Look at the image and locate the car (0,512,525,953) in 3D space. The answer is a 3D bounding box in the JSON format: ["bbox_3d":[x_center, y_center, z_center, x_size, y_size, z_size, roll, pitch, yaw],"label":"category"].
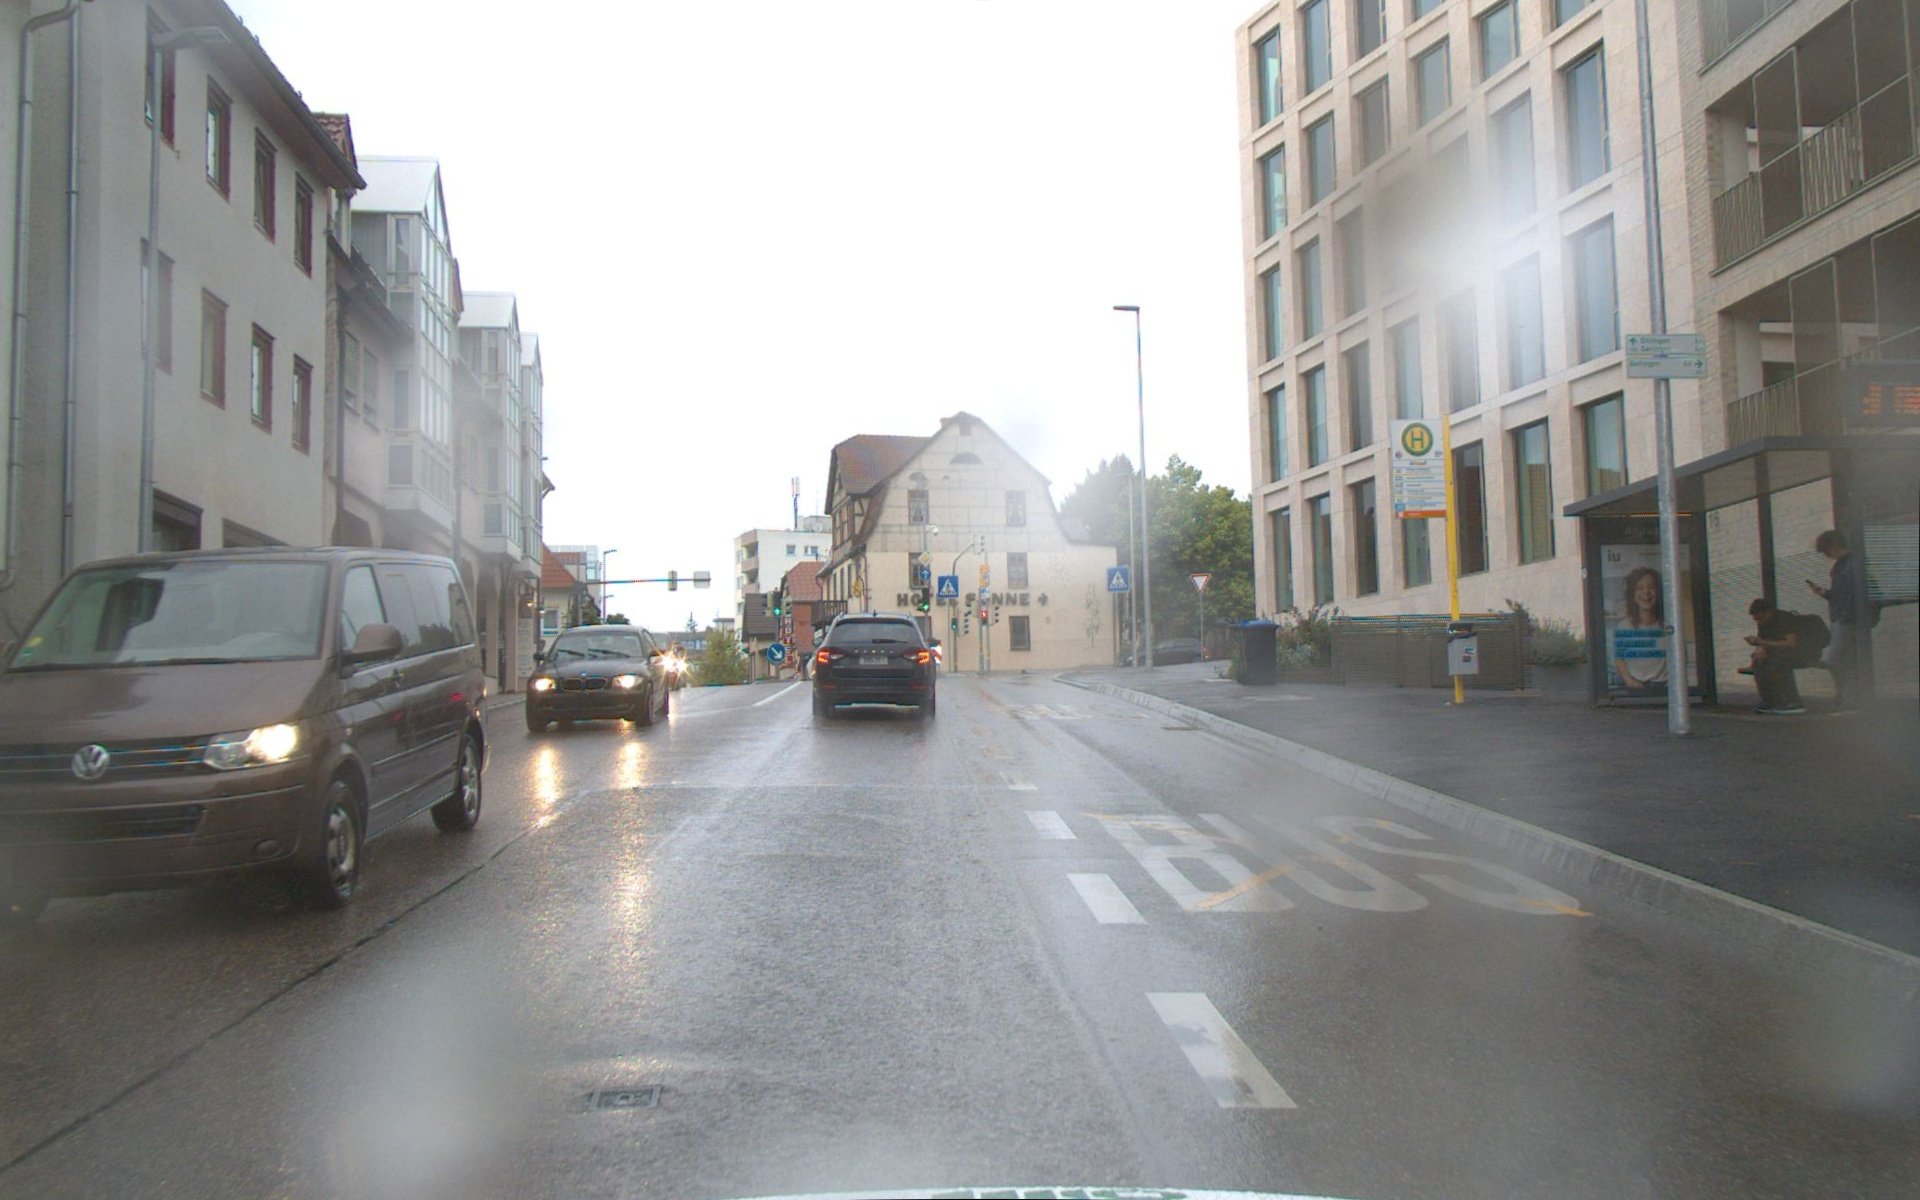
[{"bbox_3d":[-4.104,0.628,10.016,1.894,1.941,5.038,-2,0,-4],"label":"car"}]

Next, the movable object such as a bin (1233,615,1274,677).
[{"bbox_3d":[5.201,0.810,29.317,0.583,1.081,0.579,-1,-1,-1],"label":"movable object such as a bin"}]

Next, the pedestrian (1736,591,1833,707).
[{"bbox_3d":[8.748,0.515,17.569,0.658,1.182,0.635,-2,-1,-1],"label":"pedestrian"}]

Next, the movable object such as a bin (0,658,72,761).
[{"bbox_3d":[-9.534,1.115,17.020,0.498,1.024,0.584,0,-1,-5],"label":"movable object such as a bin"}]

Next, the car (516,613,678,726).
[{"bbox_3d":[-5.148,0.940,23.898,1.654,1.469,3.907,-1,-1,-3],"label":"car"}]

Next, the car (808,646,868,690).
[{"bbox_3d":[-4.554,2.508,61.284,1.852,1.493,3.991,-2,-1,-9],"label":"car"}]

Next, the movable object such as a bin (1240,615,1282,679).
[{"bbox_3d":[5.199,0.803,28.566,0.583,1.081,0.579,-1,-1,-1],"label":"movable object such as a bin"}]

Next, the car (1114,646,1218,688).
[{"bbox_3d":[9.353,3.050,75.108,4.234,1.531,1.770,-2,-6,-17],"label":"car"}]

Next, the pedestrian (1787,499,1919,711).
[{"bbox_3d":[8.753,0.050,16.121,0.766,1.974,1.021,-2,-1,-1],"label":"pedestrian"}]

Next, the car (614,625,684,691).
[{"bbox_3d":[-7.905,1.448,42.228,1.530,1.562,3.442,-2,-1,-8],"label":"car"}]

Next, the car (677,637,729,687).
[{"bbox_3d":[-9.122,2.175,58.912,1.749,1.659,4.207,-1,-1,-8],"label":"car"}]

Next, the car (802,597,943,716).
[{"bbox_3d":[-1.313,0.786,24.658,1.906,1.594,4.414,-1,-1,-3],"label":"car"}]
